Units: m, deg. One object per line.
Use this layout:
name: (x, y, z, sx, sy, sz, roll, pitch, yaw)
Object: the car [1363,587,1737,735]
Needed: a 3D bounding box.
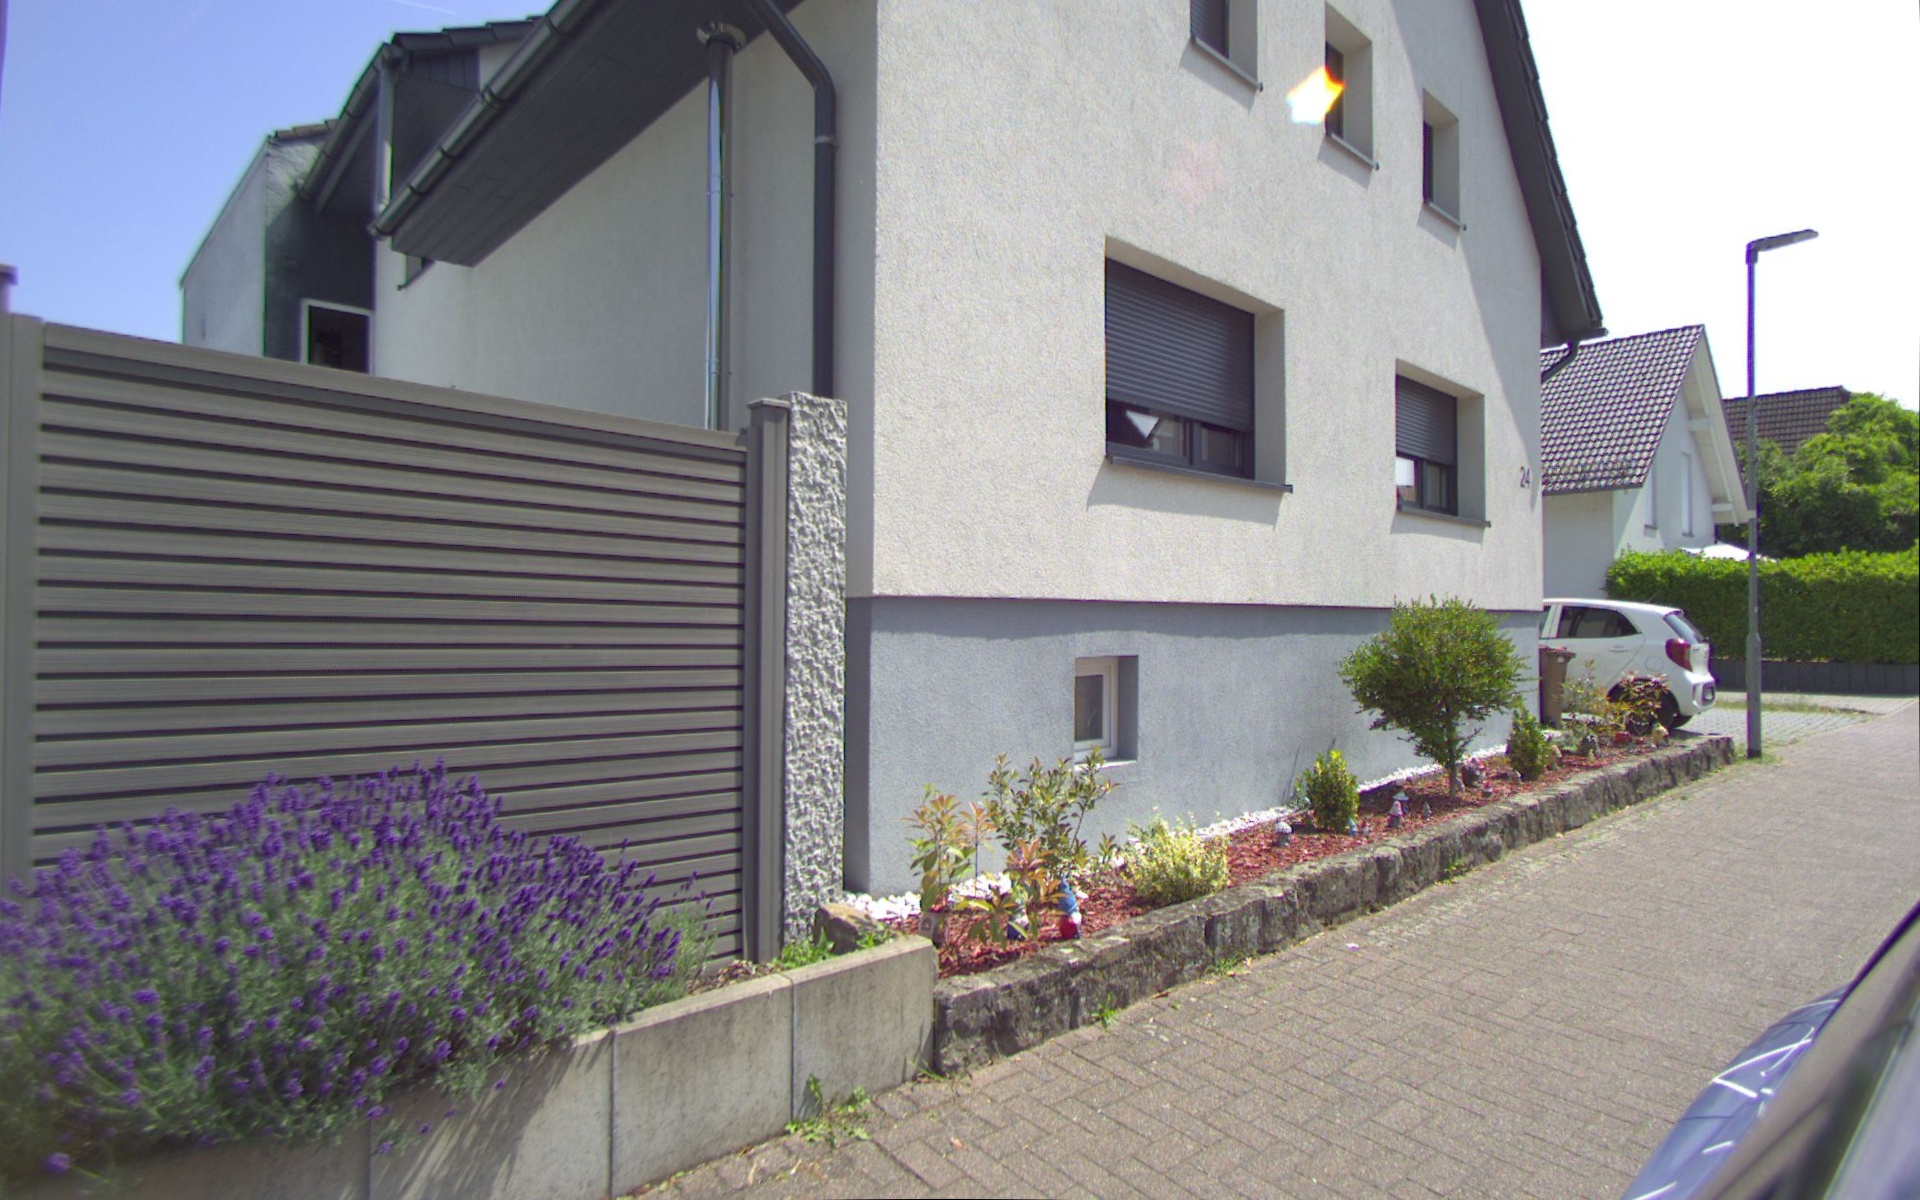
car: (7.153, 0.636, 12.490, 1.736, 1.493, 3.659, 2, 0, -45)
